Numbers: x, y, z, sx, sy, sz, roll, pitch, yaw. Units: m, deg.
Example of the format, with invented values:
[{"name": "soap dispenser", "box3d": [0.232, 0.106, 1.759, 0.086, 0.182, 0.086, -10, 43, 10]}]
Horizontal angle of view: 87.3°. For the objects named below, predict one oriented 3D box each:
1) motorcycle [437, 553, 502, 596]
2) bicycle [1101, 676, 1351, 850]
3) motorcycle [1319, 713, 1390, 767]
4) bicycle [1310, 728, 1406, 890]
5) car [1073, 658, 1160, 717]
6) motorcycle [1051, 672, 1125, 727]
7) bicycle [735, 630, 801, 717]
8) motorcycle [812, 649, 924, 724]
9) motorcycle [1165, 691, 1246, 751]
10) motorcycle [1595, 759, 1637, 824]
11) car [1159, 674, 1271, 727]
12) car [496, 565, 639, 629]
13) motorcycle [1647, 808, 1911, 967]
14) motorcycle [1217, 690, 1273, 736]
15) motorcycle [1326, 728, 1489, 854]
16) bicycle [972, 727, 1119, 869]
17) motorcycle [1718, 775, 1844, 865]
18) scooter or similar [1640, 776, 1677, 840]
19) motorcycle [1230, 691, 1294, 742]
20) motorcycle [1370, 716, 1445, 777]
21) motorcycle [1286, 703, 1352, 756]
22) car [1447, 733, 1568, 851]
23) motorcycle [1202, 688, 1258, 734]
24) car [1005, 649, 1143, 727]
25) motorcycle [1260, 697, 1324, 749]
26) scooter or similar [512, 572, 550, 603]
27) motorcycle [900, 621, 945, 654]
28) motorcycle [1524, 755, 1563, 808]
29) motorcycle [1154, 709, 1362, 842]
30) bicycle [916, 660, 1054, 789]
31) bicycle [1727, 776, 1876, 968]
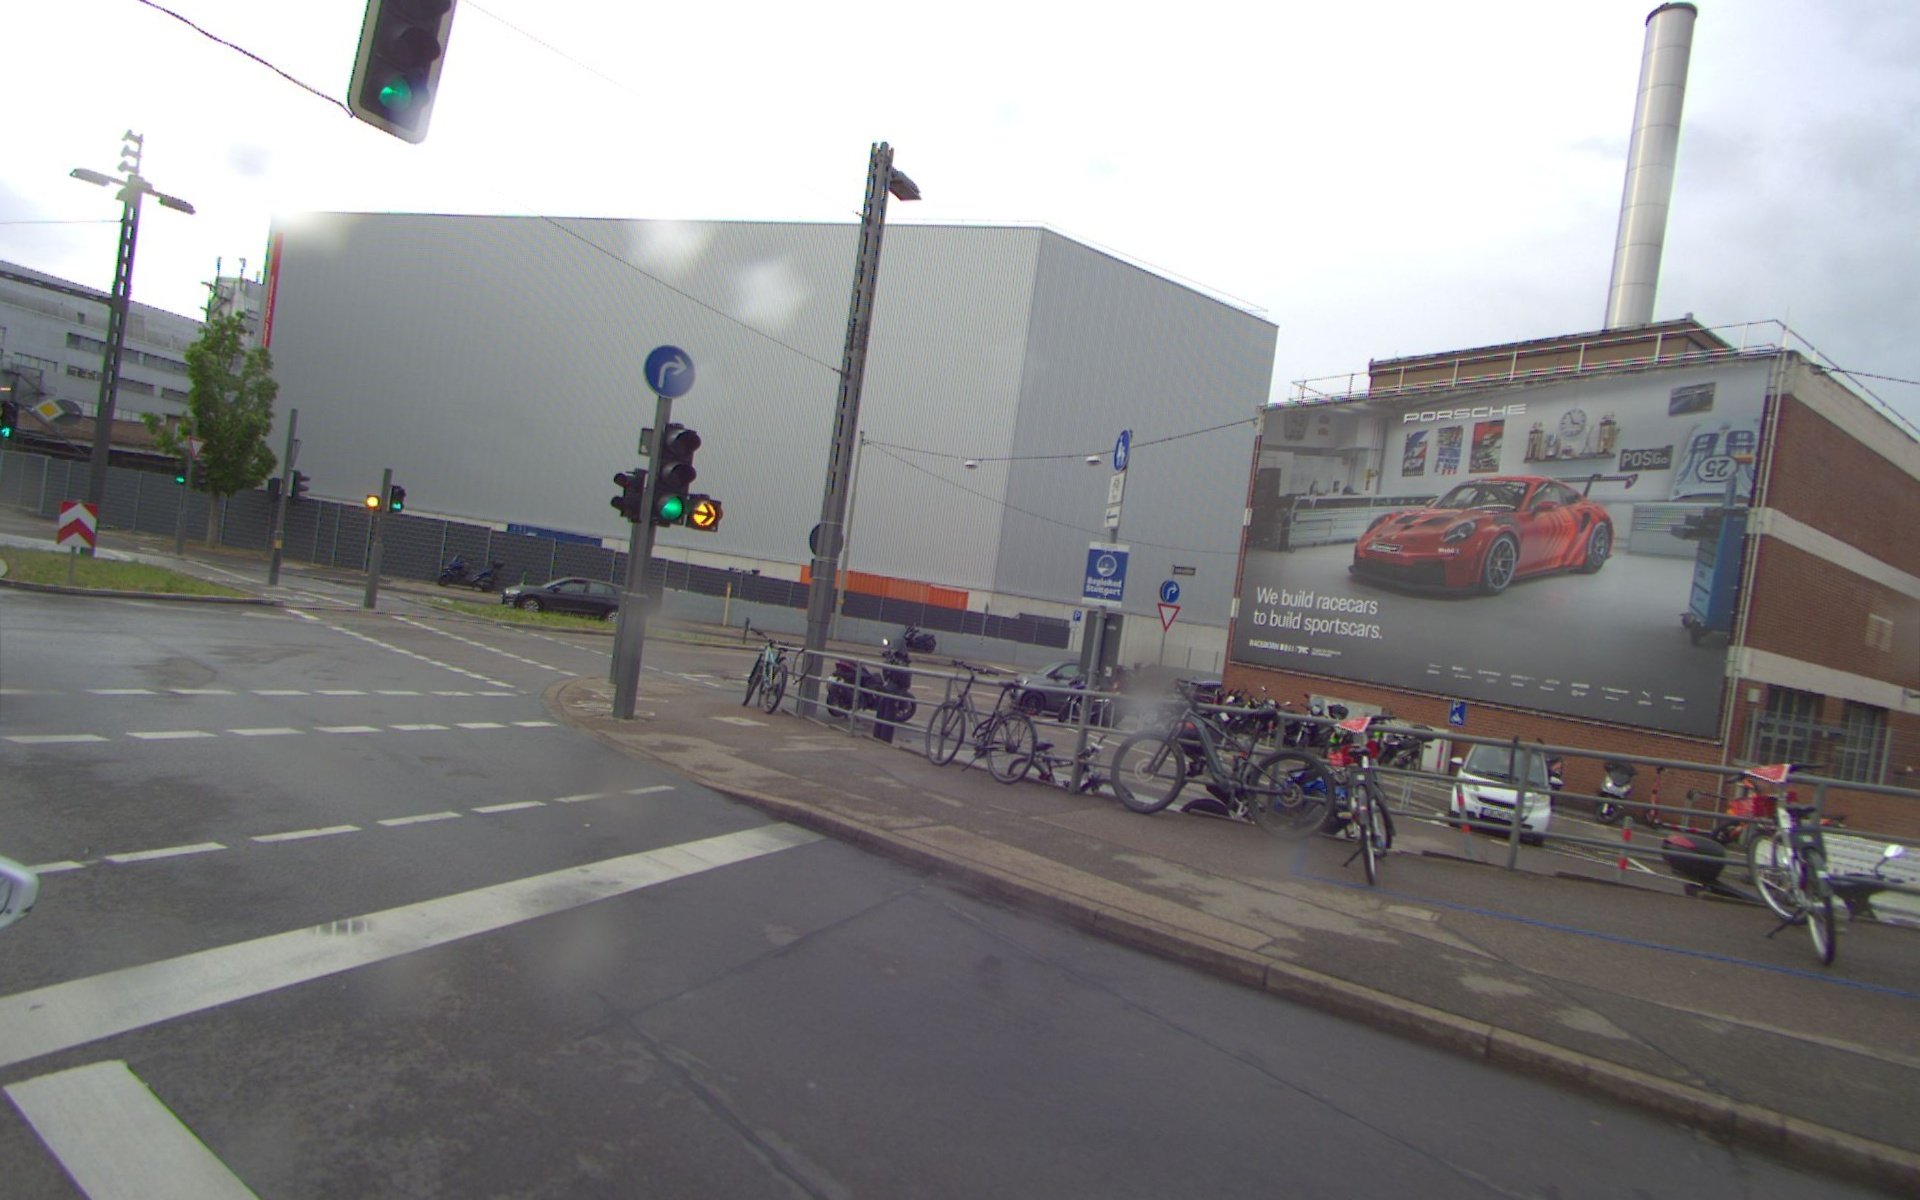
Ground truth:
[{"name": "motorcycle", "box3d": [-19.113, -0.993, 39.232, 2.082, 1.326, 0.649, 10, -1, -34]}, {"name": "bicycle", "box3d": [2.287, 1.369, 8.792, 1.981, 1.189, 0.400, 5, -1, 29]}, {"name": "motorcycle", "box3d": [9.509, 3.371, 24.228, 1.789, 1.132, 0.473, 8, -2, -29]}, {"name": "bicycle", "box3d": [3.032, 1.502, 7.576, 0.414, 0.973, 1.744, 5, -2, 28]}, {"name": "car", "box3d": [5.094, 2.849, 32.501, 1.529, 1.510, 2.745, 10, 0, 36]}, {"name": "motorcycle", "box3d": [3.150, 2.444, 24.712, 1.702, 1.159, 0.492, 8, -2, -25]}, {"name": "bicycle", "box3d": [-2.937, 1.081, 15.238, 0.416, 1.143, 2.064, 7, -3, -23]}, {"name": "motorcycle", "box3d": [-1.545, 1.516, 17.356, 0.481, 1.158, 2.087, 5, -3, 40]}, {"name": "motorcycle", "box3d": [5.630, 2.767, 23.153, 0.539, 1.123, 1.849, 7, -3, -33]}, {"name": "motorcycle", "box3d": [13.471, 3.901, 20.639, 0.576, 1.165, 1.717, 5, -3, 35]}, {"name": "car", "box3d": [9.172, 3.604, 36.063, 4.071, 1.460, 1.554, 9, -3, -36]}, {"name": "car", "box3d": [-12.636, -0.092, 32.438, 3.959, 1.442, 1.707, 9, -1, -31]}, {"name": "motorcycle", "box3d": [6.429, 2.242, 7.961, 1.512, 0.901, 0.403, 6, -1, 18]}, {"name": "motorcycle", "box3d": [8.335, 3.305, 29.513, 0.538, 1.123, 1.639, 7, -2, -26]}, {"name": "motorcycle", "box3d": [4.021, 1.705, 9.112, 1.241, 0.901, 0.434, 6, -1, 22]}, {"name": "bicycle", "box3d": [0.831, 1.969, 10.253, 0.344, 1.096, 1.728, 6, -1, -36]}, {"name": "motorcycle", "box3d": [15.313, 4.094, 18.803, 1.638, 1.349, 0.524, 6, -2, 20]}, {"name": "scooter or similar", "box3d": [14.018, 4.151, 20.200, 0.496, 1.109, 1.635, 5, -3, 35]}, {"name": "motorcycle", "box3d": [8.268, 3.191, 27.509, 1.631, 1.193, 0.670, 8, -2, -31]}, {"name": "motorcycle", "box3d": [10.518, 3.440, 23.643, 1.788, 1.253, 0.540, 8, 0, -31]}, {"name": "motorcycle", "box3d": [9.127, 3.292, 25.537, 1.695, 1.193, 0.541, 8, -2, -31]}, {"name": "car", "box3d": [9.728, 3.297, 17.973, 1.541, 1.506, 3.997, 7, -2, 28]}, {"name": "motorcycle", "box3d": [7.721, 3.164, 28.841, 0.538, 1.133, 1.593, 7, -2, -26]}, {"name": "car", "box3d": [2.955, 2.291, 26.481, 3.190, 1.521, 1.624, 8, -1, -5]}, {"name": "motorcycle", "box3d": [8.657, 3.213, 26.221, 1.631, 1.193, 0.541, 8, -2, -31]}, {"name": "scooter or similar", "box3d": [-17.270, -0.505, 40.497, 1.247, 1.041, 0.385, 9, 0, -1]}, {"name": "motorcycle", "box3d": [-1.900, 1.912, 50.888, 2.082, 1.393, 0.649, 9, -1, -34]}, {"name": "motorcycle", "box3d": [12.426, 3.843, 21.406, 0.533, 0.984, 1.613, 5, -3, 35]}, {"name": "motorcycle", "box3d": [2.730, 1.584, 9.349, 1.721, 0.906, 0.545, 5, -2, 43]}, {"name": "bicycle", "box3d": [0.219, 1.251, 10.415, 0.344, 1.096, 1.728, 6, -1, -36]}, {"name": "bicycle", "box3d": [5.464, 1.708, 6.605, 0.414, 0.933, 1.614, 7, -1, 31]}]
